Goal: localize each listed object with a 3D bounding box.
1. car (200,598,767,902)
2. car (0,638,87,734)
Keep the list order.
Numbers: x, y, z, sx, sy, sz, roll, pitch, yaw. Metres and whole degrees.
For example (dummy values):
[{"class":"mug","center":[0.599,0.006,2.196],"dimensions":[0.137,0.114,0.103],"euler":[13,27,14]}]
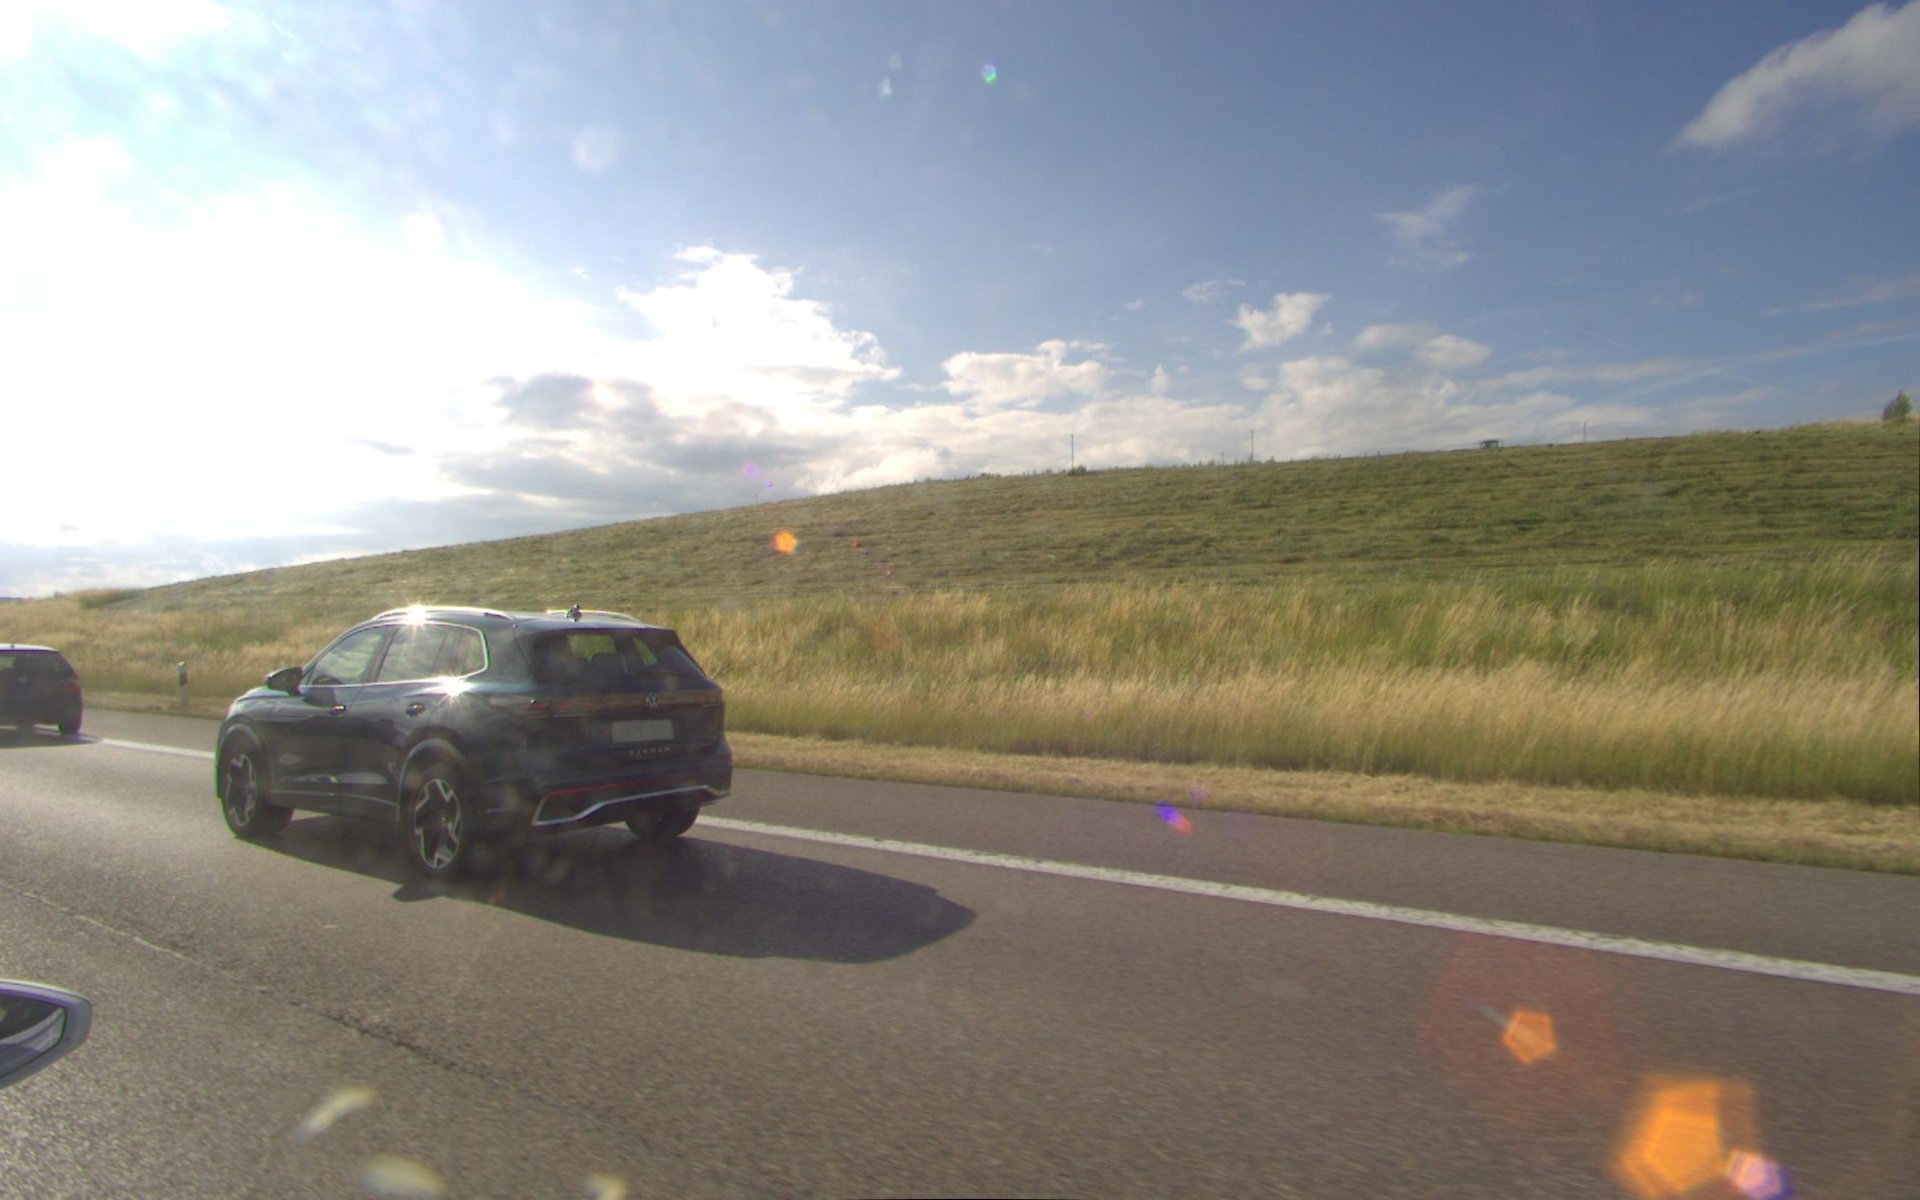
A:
[{"class":"car","center":[-3.570,0.905,7.289],"dimensions":[4.176,1.621,1.818],"euler":[-2,-3,33]},{"class":"car","center":[-15.764,1.355,16.347],"dimensions":[3.626,1.438,1.600],"euler":[-2,-2,37]}]
